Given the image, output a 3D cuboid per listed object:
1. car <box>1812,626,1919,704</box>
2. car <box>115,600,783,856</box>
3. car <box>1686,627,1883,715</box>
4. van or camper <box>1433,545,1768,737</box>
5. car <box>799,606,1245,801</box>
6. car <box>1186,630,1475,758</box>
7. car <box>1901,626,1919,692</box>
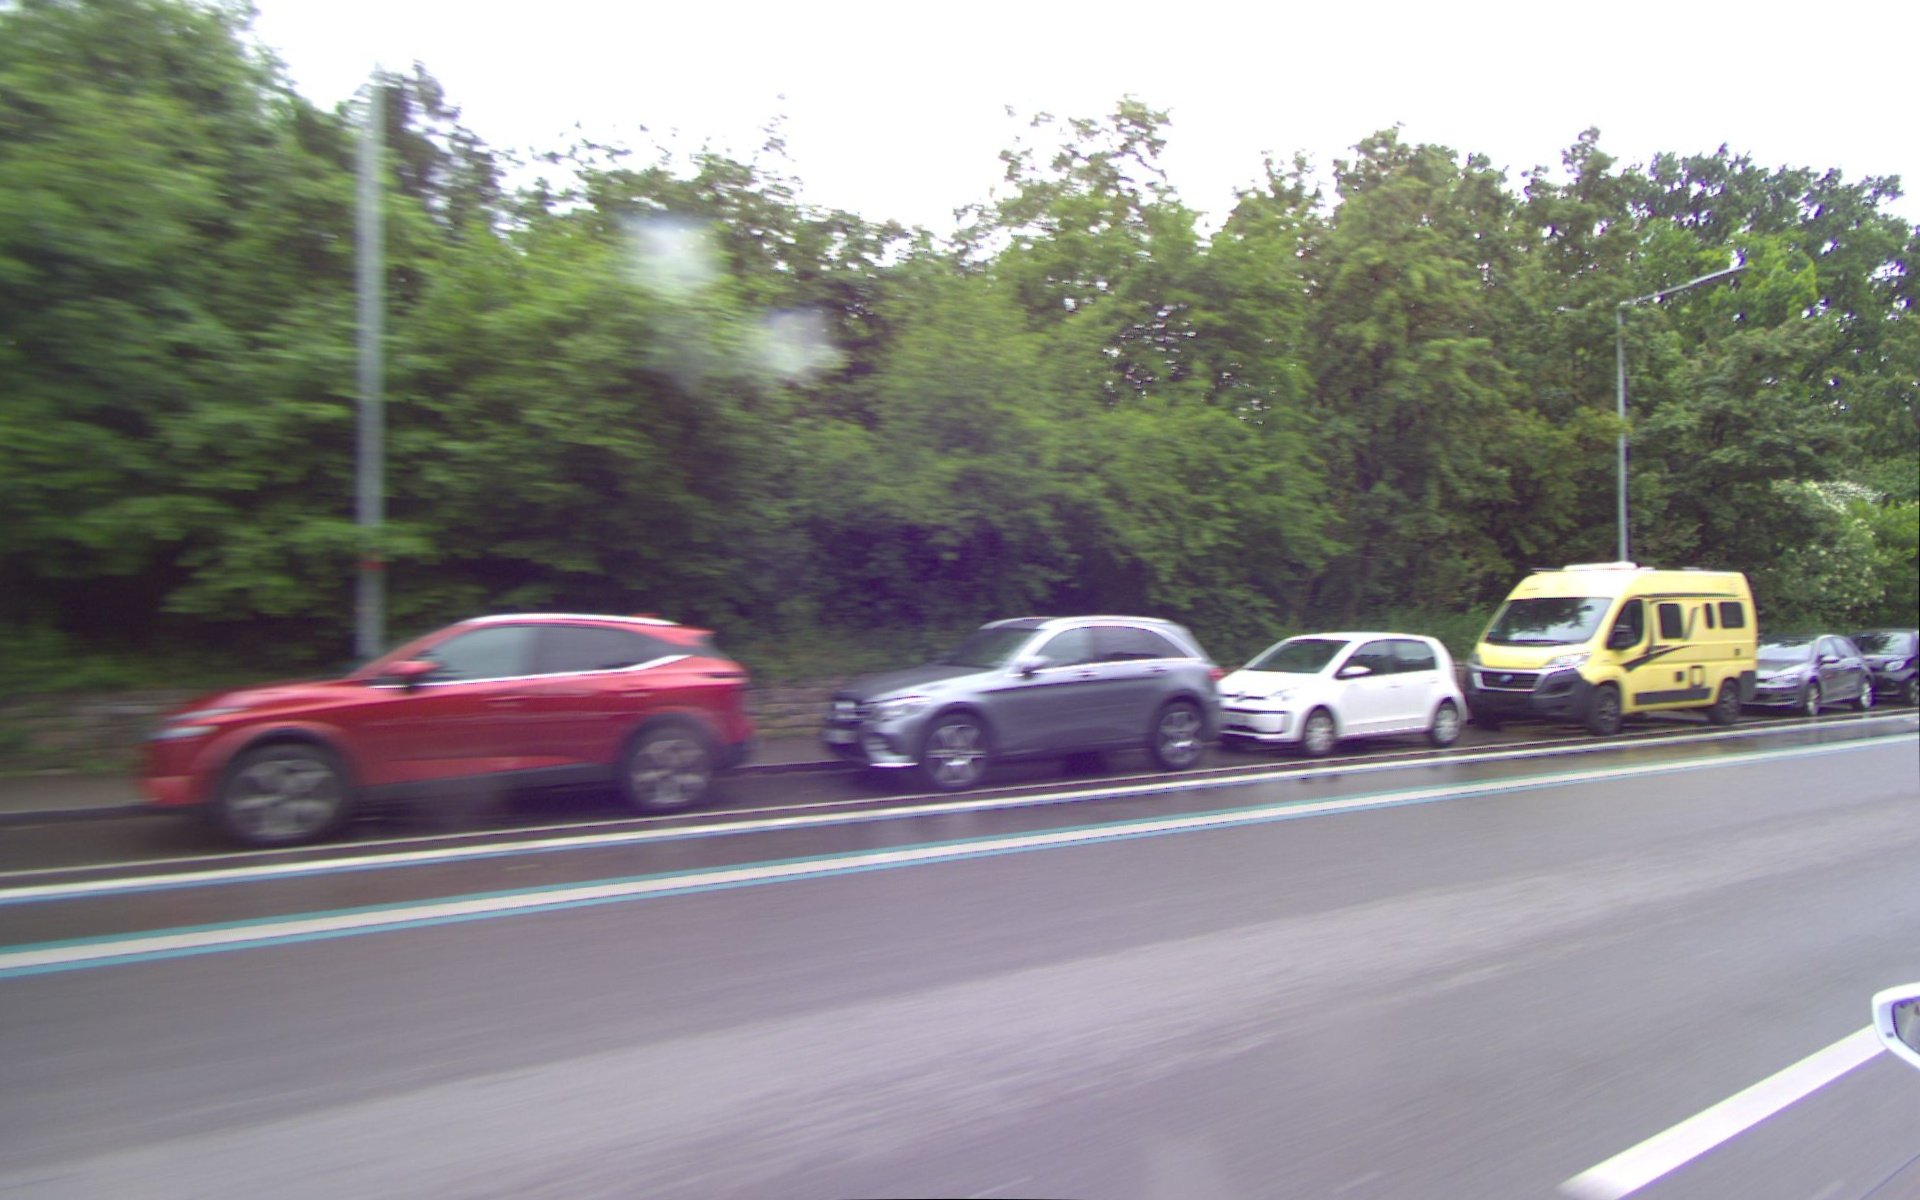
[{"bbox_3d":[19.919,1.333,21.460,3.099,1.530,1.596,1,-1,-28],"label":"car"},{"bbox_3d":[-3.910,0.883,8.361,4.435,1.638,1.911,1,-2,-29],"label":"car"},{"bbox_3d":[15.795,1.283,19.197,4.102,1.518,1.671,1,-2,-32],"label":"car"},{"bbox_3d":[10.404,0.617,16.210,5.612,2.662,2.135,1,-1,-29],"label":"van or camper"},{"bbox_3d":[0.748,0.958,10.941,4.562,1.723,1.983,1,-1,-31],"label":"car"},{"bbox_3d":[4.885,1.137,13.189,3.612,1.468,1.611,1,-2,-29],"label":"car"},{"bbox_3d":[24.487,1.405,24.116,3.927,1.530,1.596,1,-1,-28],"label":"car"}]
